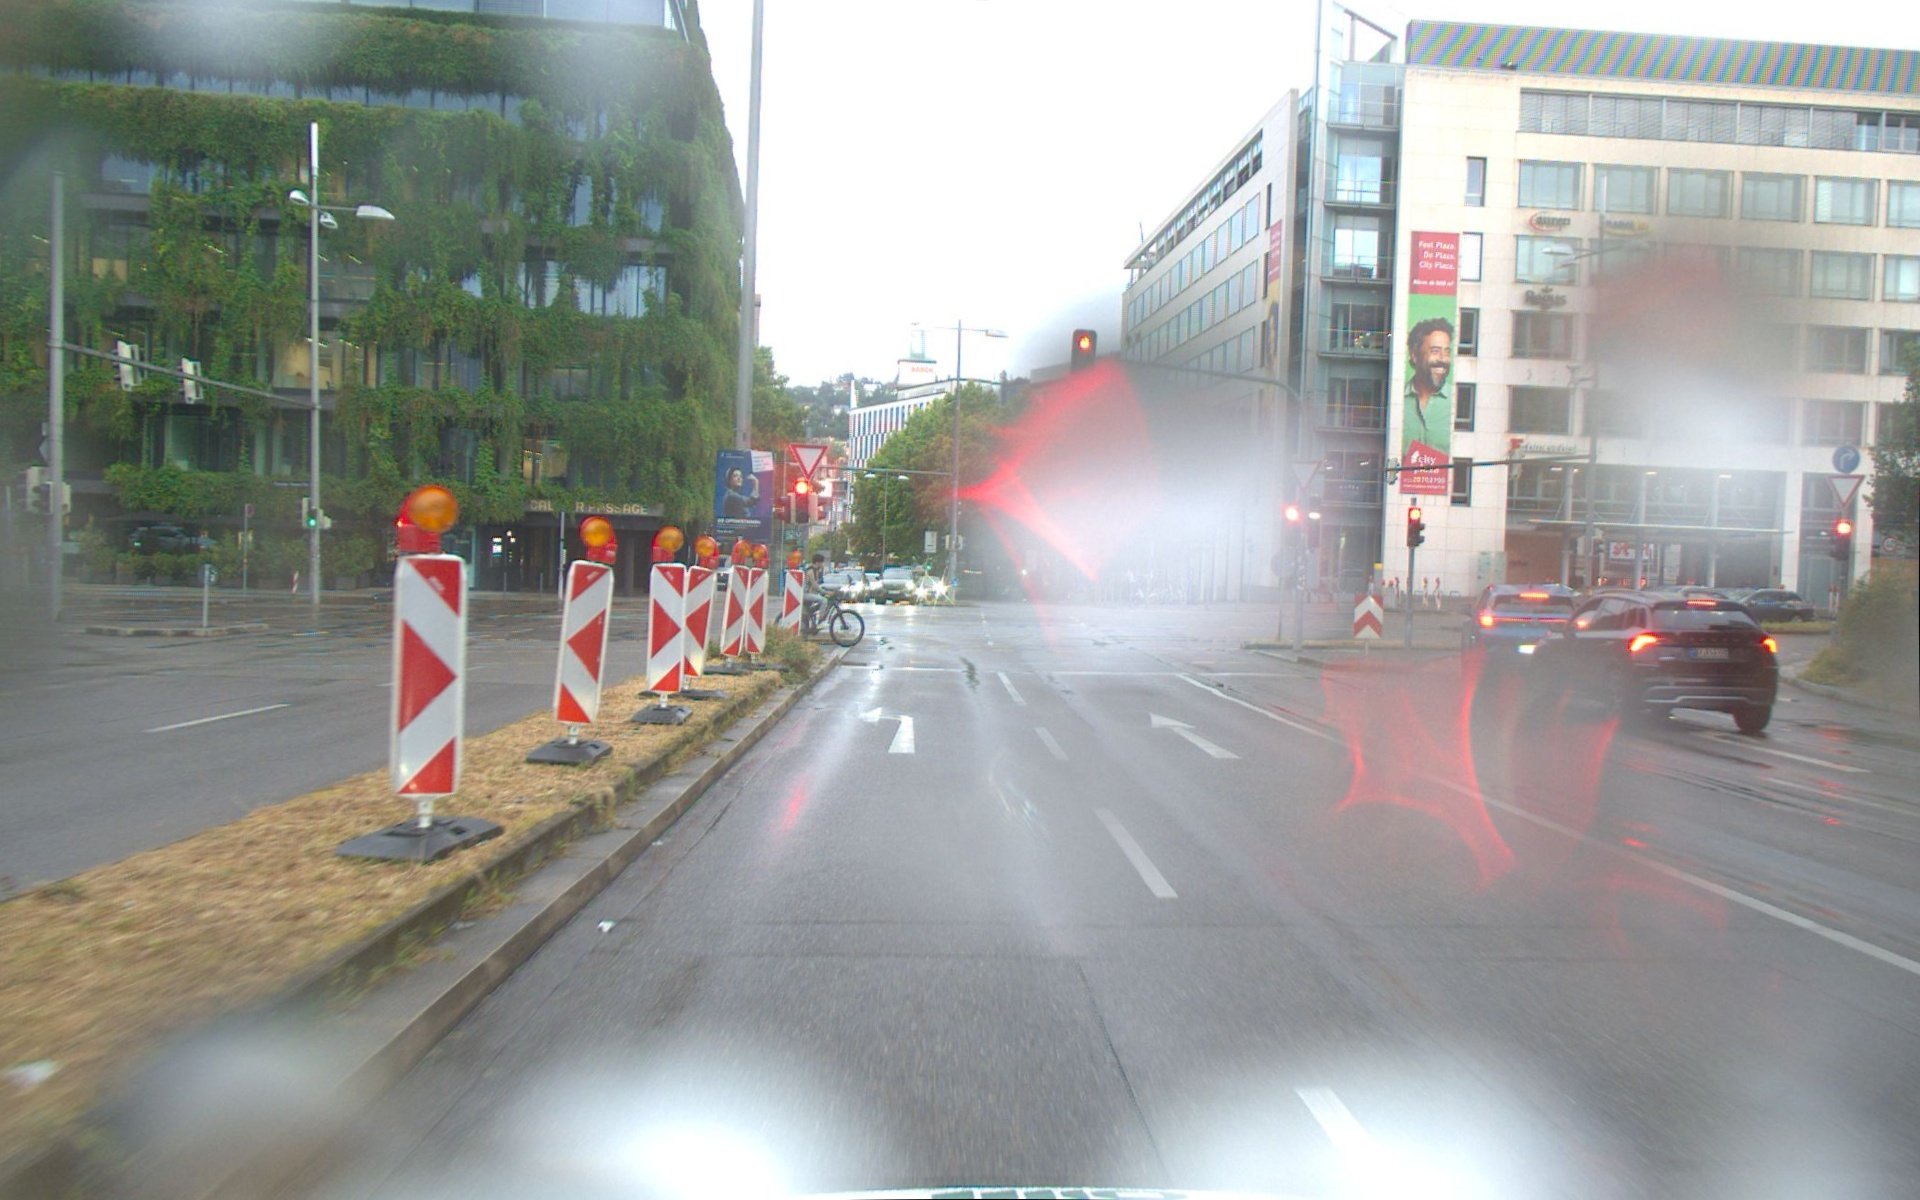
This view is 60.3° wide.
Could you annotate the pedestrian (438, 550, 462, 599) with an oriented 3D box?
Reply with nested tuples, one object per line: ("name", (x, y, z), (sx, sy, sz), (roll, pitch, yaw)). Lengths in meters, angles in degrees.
("pedestrian", (-18.880, -0.930, 61.205), (0.731, 1.788, 0.969), (1, 1, -24))

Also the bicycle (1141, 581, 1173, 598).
("bicycle", (11.181, -0.599, 93.937), (1.757, 0.950, 0.475), (1, 1, 2))

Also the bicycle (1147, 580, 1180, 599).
("bicycle", (10.726, -0.557, 87.249), (1.767, 0.950, 0.473), (2, 1, 41))

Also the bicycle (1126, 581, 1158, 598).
("bicycle", (10.536, -0.633, 95.775), (1.757, 0.950, 0.475), (1, 1, 2))

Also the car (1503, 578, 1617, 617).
("car", (26.349, -0.119, 72.685), (4.378, 1.626, 1.992), (1, 1, -16))

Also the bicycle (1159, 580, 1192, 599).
("bicycle", (11.473, -0.556, 87.902), (1.767, 0.950, 0.473), (2, 1, 41))

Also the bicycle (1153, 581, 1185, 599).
("bicycle", (11.323, -0.539, 89.611), (1.767, 0.950, 0.473), (2, 1, 41))

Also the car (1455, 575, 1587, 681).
("car", (9.138, 0.390, 27.221), (1.667, 1.556, 4.430), (1, 1, 14))

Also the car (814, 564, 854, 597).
("car", (-6.184, -0.970, 80.598), (1.820, 1.473, 4.616), (1, 2, -6))

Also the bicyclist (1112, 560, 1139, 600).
("bicyclist", (8.455, -1.026, 84.511), (0.787, 2.009, 1.097), (1, 1, -41))

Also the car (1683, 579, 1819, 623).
("car", (28.746, 0.043, 60.137), (4.374, 1.489, 1.717), (1, 1, -14))

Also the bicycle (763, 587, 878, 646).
("bicycle", (-2.776, 0.330, 32.921), (2.115, 1.122, 0.843), (1, 1, -22))

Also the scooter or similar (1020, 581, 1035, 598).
("scooter or similar", (4.271, -0.684, 104.541), (0.546, 1.024, 1.819), (1, 1, -11))

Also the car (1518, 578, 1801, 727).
("car", (8.318, 0.545, 20.098), (1.741, 1.567, 4.148), (1, 1, 1))

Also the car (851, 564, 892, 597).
("car", (-5.204, -1.163, 96.804), (2.133, 1.855, 4.638), (1, 1, -7))

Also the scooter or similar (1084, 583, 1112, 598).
("scooter or similar", (8.592, -0.600, 103.009), (1.720, 0.894, 0.486), (1, 1, -20))

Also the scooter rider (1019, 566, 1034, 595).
("scooter rider", (4.213, -1.243, 104.582), (0.749, 1.805, 0.794), (1, 0, -12))

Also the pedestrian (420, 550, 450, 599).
("pedestrian", (-19.363, -0.950, 61.029), (0.923, 1.788, 1.163), (1, 1, -24))

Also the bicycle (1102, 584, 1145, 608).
("bicycle", (8.349, -0.214, 84.614), (0.787, 1.136, 2.222), (1, 1, -41))

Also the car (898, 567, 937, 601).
("car", (-2.288, -0.889, 88.108), (1.925, 1.684, 4.362), (0, 2, -3))

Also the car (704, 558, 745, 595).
("car", (-12.949, -1.302, 90.967), (1.955, 1.928, 4.461), (1, 1, -5))

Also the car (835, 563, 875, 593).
("car", (-5.571, -1.169, 87.133), (1.821, 1.473, 4.614), (1, 2, -7))

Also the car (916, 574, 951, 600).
("car", (-1.673, -0.805, 103.969), (1.954, 1.468, 4.553), (0, 2, -4))

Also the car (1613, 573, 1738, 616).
("car", (28.905, -0.232, 66.828), (4.377, 1.626, 1.992), (1, 1, -16))

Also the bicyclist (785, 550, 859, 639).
("bicyclist", (-2.748, -0.109, 32.948), (1.276, 1.733, 0.843), (1, 1, -22))

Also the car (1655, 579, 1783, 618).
("car", (28.984, -0.053, 63.151), (4.377, 1.372, 1.716), (1, 1, -16))

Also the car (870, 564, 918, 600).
("car", (-3.043, -0.864, 75.966), (1.955, 1.577, 4.551), (1, 1, -5))
